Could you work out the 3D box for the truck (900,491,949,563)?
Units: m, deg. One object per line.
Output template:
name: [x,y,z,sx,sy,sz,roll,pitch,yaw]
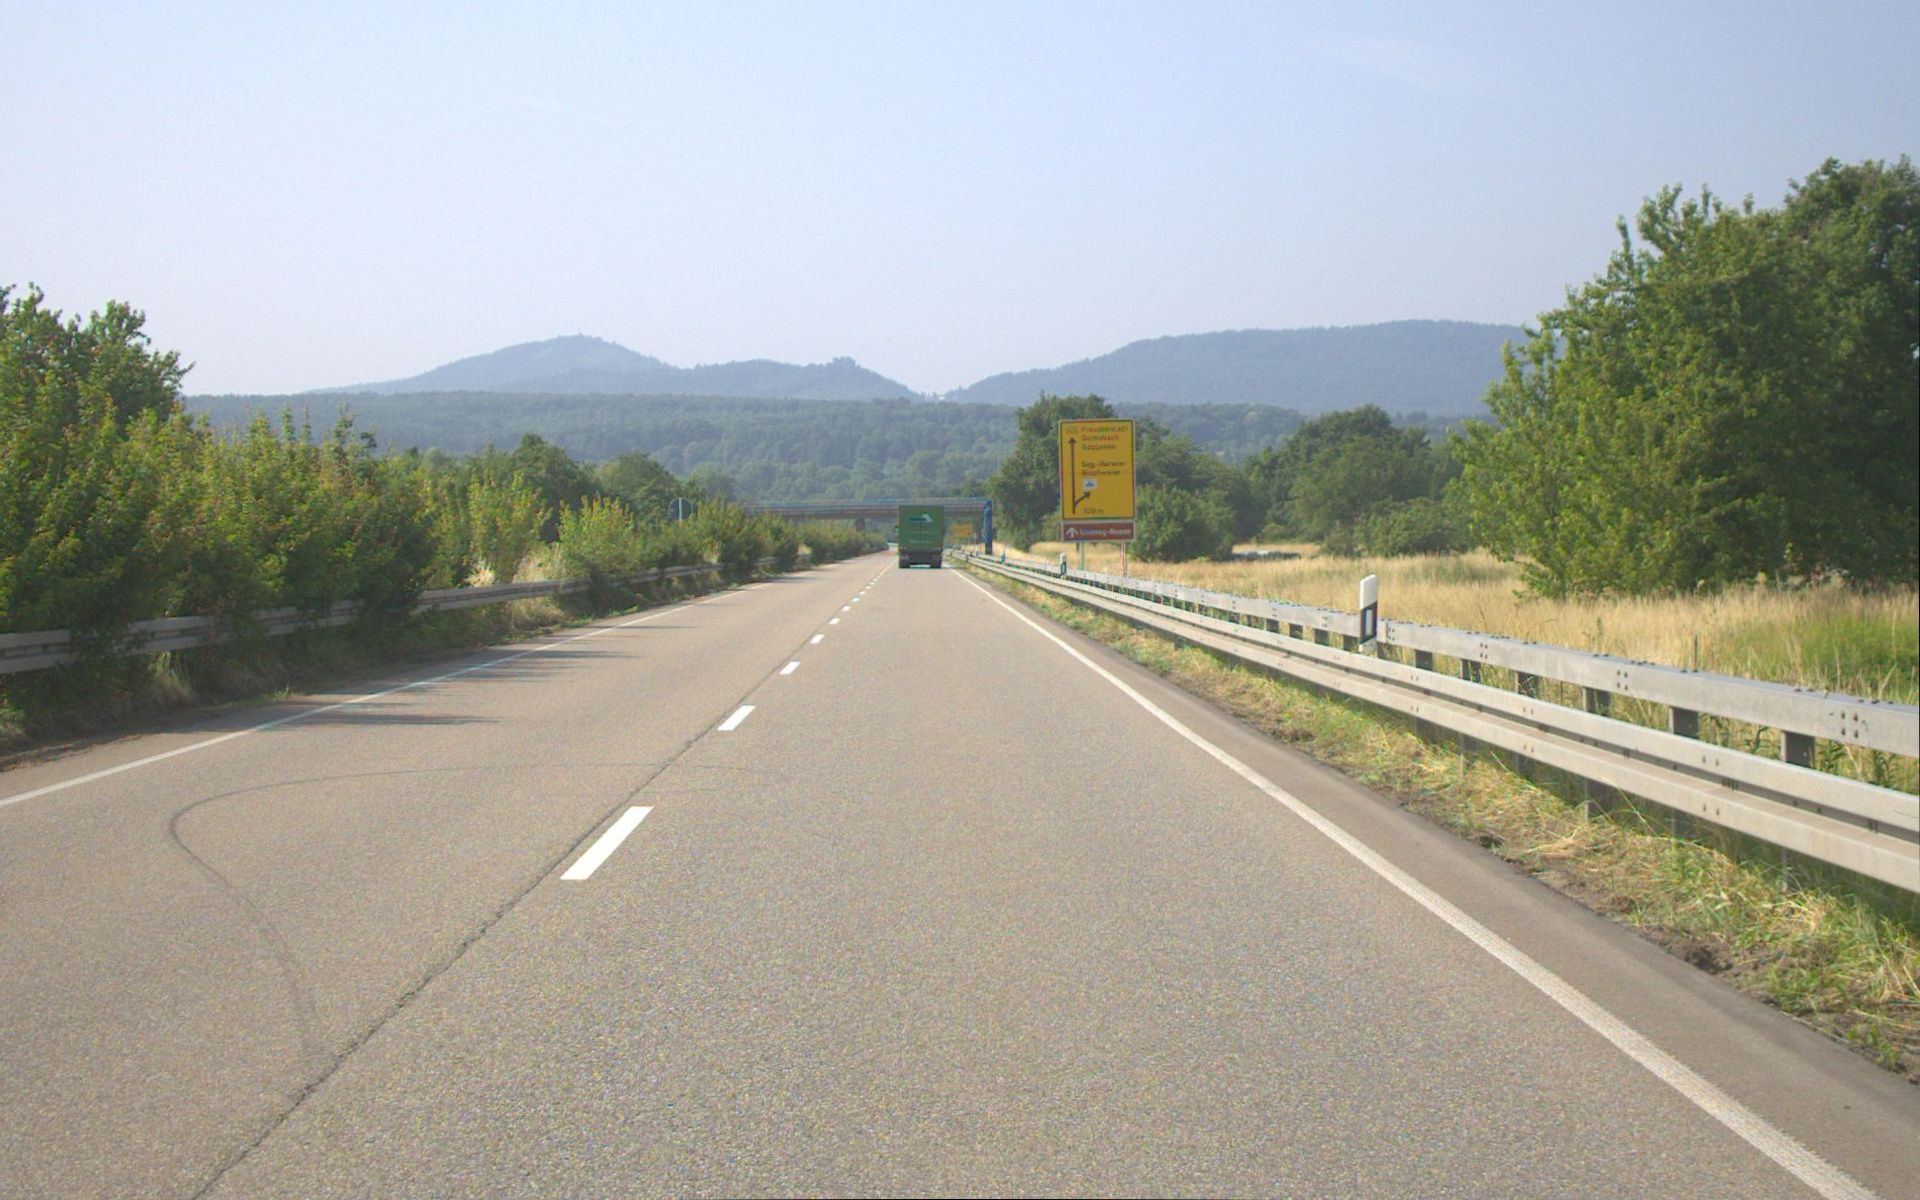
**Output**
truck: [-2.039,-4.318,200.407,2.722,3.952,10.417,1,2,0]
